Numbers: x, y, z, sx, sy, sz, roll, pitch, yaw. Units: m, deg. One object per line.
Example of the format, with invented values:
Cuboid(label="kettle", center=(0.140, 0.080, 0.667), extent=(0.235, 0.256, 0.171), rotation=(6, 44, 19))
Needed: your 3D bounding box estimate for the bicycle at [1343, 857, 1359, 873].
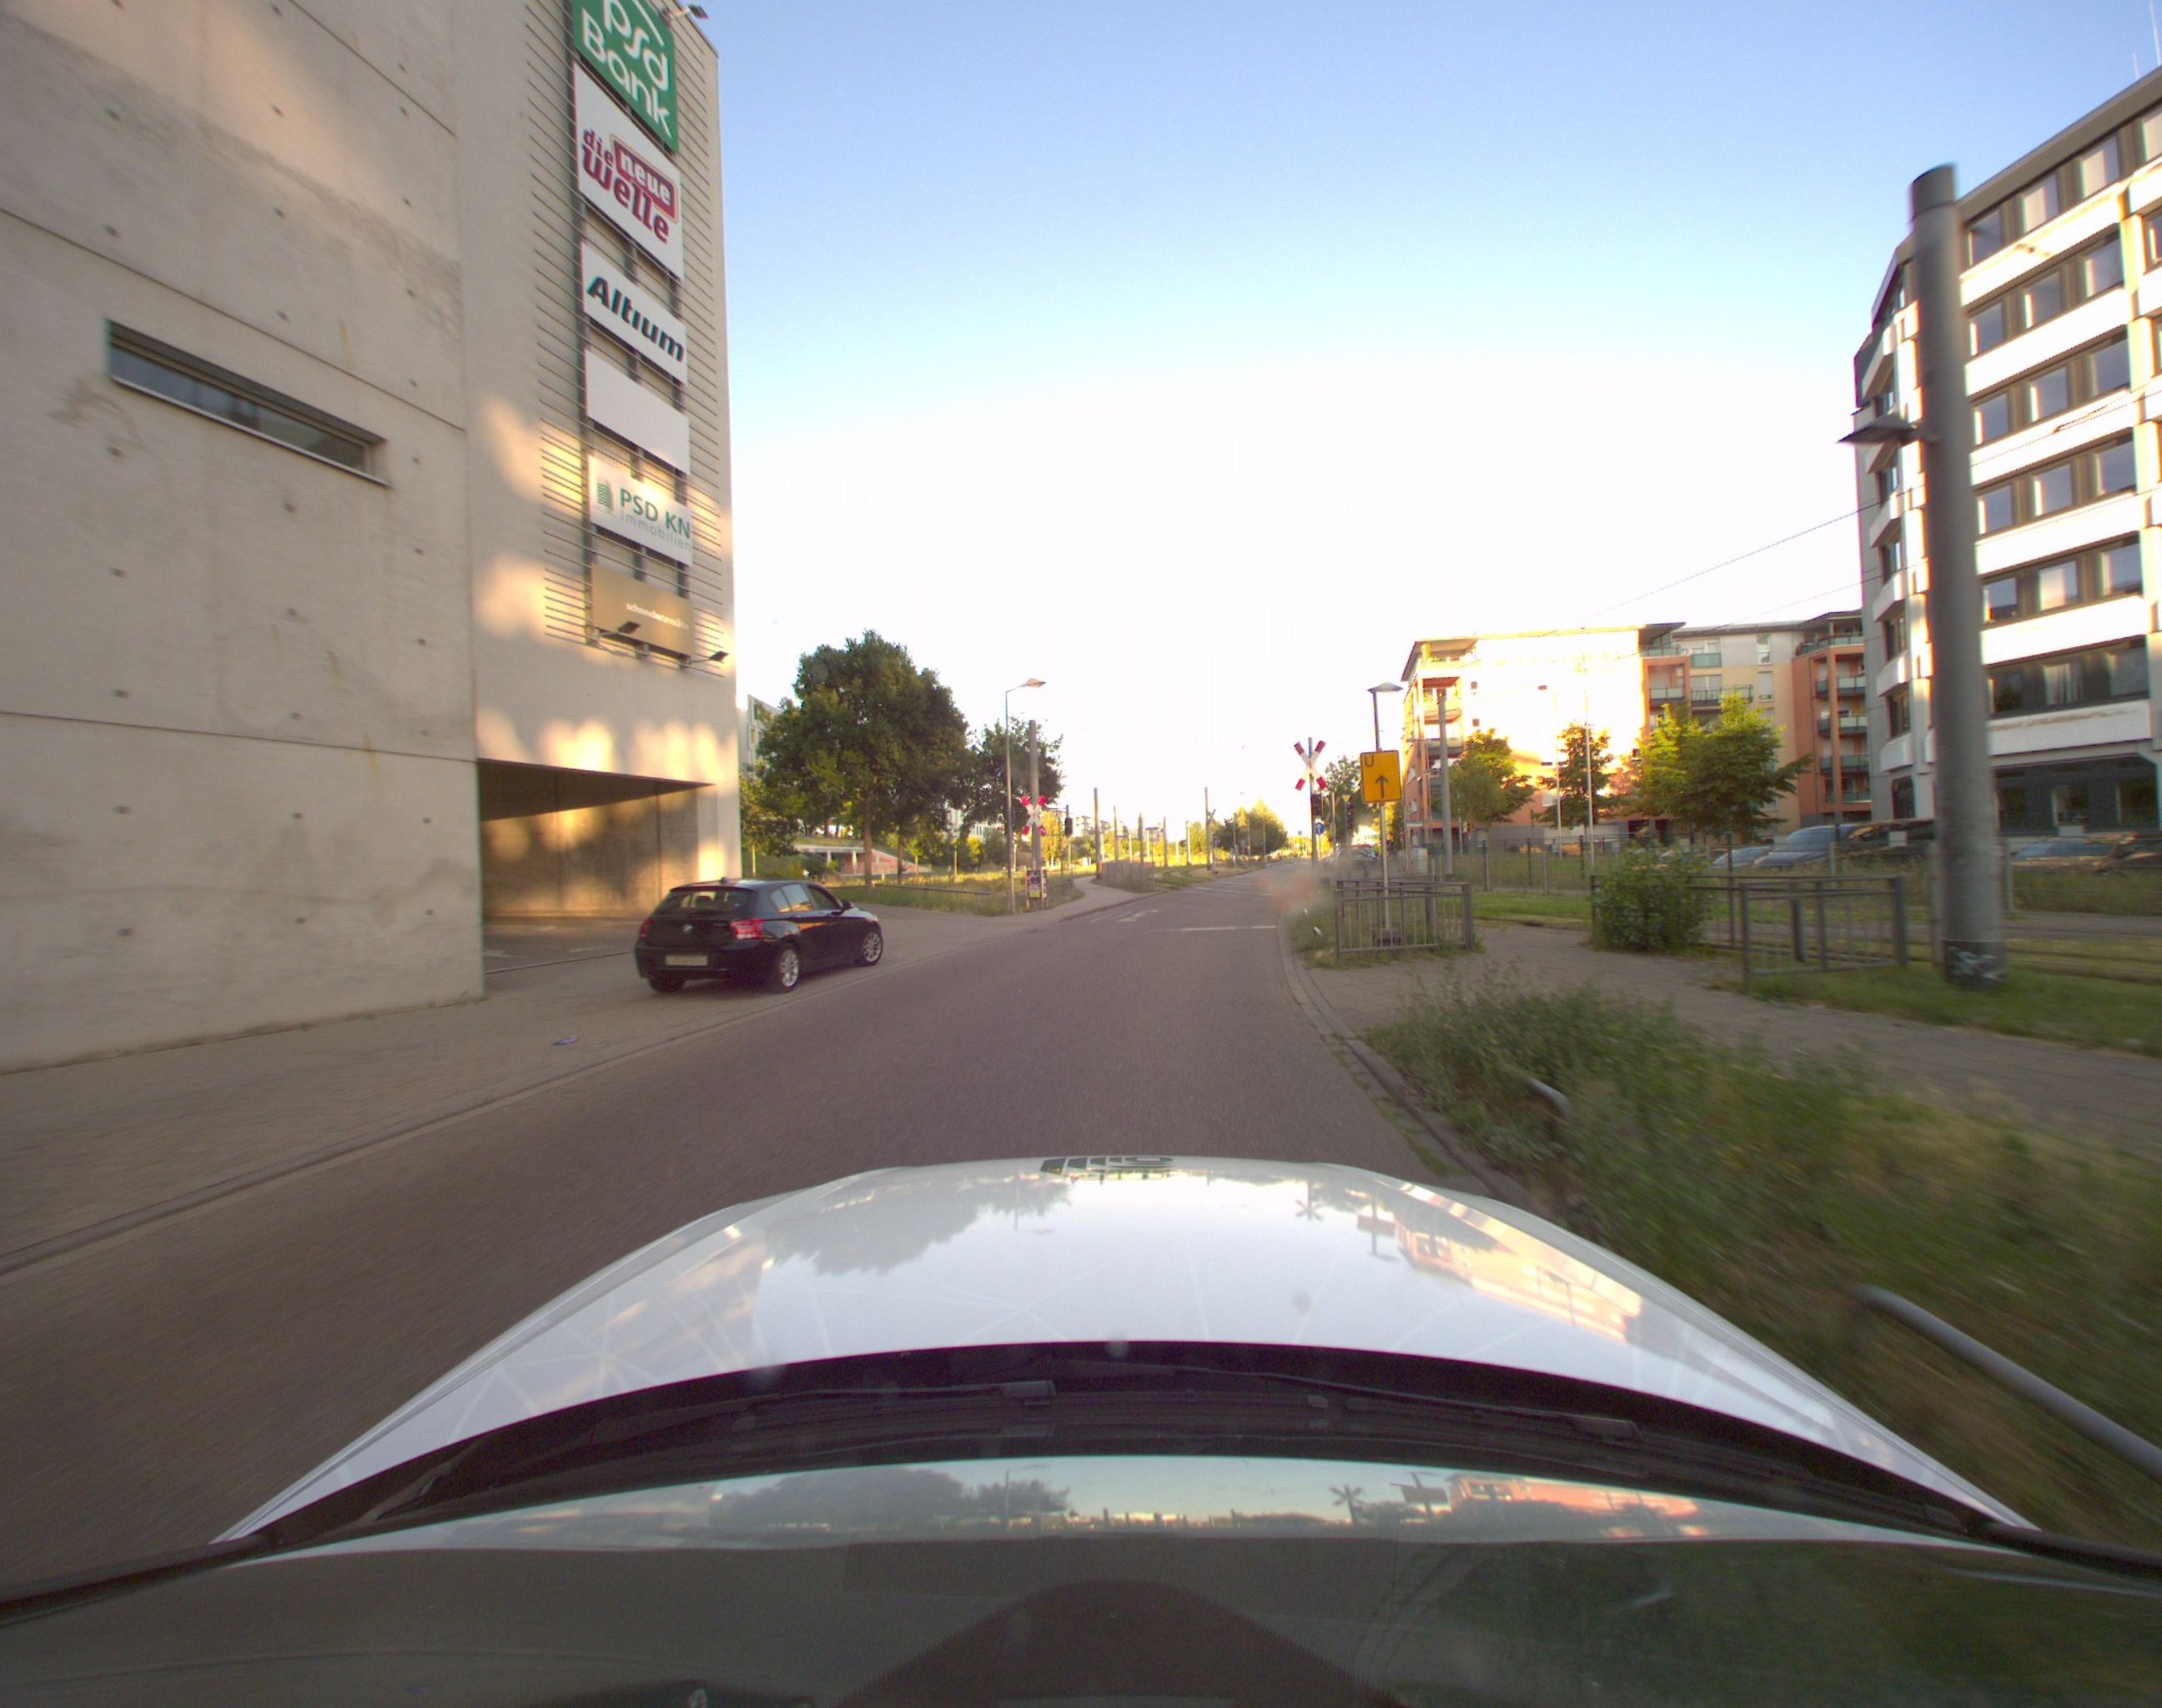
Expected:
Cuboid(label="bicycle", center=(20.837, 0.842, 62.814), extent=(0.713, 1.152, 1.902), rotation=(-4, 1, 7))

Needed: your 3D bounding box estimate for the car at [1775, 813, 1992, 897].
Cuboid(label="car", center=(21.339, 0.032, 21.768), extent=(3.981, 2.014, 1.996), rotation=(-2, -1, -5))

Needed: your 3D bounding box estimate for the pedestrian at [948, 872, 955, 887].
Cuboid(label="pedestrian", center=(-17.083, 3.359, 107.495), extent=(0.611, 2.082, 0.794), rotation=(-1, -1, 16))

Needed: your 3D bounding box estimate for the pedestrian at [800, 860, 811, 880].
Cuboid(label="pedestrian", center=(-26.115, 1.514, 77.243), extent=(0.611, 1.836, 0.794), rotation=(-1, -1, 16))

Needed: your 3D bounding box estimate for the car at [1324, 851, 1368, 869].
Cuboid(label="car", center=(24.367, 0.571, 74.900), extent=(3.744, 1.496, 1.545), rotation=(-2, -3, 17))

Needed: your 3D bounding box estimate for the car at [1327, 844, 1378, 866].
Cuboid(label="car", center=(23.166, 0.083, 69.526), extent=(4.018, 1.569, 1.680), rotation=(-4, -1, 17))

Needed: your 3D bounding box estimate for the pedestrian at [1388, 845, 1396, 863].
Cuboid(label="pedestrian", center=(30.987, -0.039, 81.081), extent=(0.663, 1.743, 0.702), rotation=(-3, -1, 17))

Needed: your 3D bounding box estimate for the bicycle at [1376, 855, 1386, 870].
Cuboid(label="bicycle", center=(23.092, 0.643, 62.659), extent=(0.525, 1.126, 1.971), rotation=(-1, 1, 15))

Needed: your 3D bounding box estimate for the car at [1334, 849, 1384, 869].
Cuboid(label="car", center=(22.956, 0.403, 67.359), extent=(3.724, 1.473, 1.619), rotation=(-2, -1, 12))

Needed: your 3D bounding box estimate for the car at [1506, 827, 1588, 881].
Cuboid(label="car", center=(18.981, 0.020, 33.364), extent=(1.978, 2.014, 4.017), rotation=(-2, -1, 16))

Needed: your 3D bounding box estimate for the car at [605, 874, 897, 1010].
Cuboid(label="car", center=(-4.225, 1.034, 11.291), extent=(1.842, 1.442, 4.238), rotation=(0, 0, 8))

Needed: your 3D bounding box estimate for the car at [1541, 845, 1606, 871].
Cuboid(label="car", center=(33.344, 0.297, 55.301), extent=(1.982, 1.594, 4.826), rotation=(-2, -1, 8))

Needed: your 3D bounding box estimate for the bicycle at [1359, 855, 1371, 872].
Cuboid(label="bicycle", center=(21.812, 0.740, 62.561), extent=(0.674, 1.152, 1.936), rotation=(-5, 0, 15))

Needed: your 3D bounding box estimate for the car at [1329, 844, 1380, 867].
Cuboid(label="car", center=(28.217, 0.123, 84.147), extent=(4.880, 2.117, 2.026), rotation=(-3, -1, 18))
